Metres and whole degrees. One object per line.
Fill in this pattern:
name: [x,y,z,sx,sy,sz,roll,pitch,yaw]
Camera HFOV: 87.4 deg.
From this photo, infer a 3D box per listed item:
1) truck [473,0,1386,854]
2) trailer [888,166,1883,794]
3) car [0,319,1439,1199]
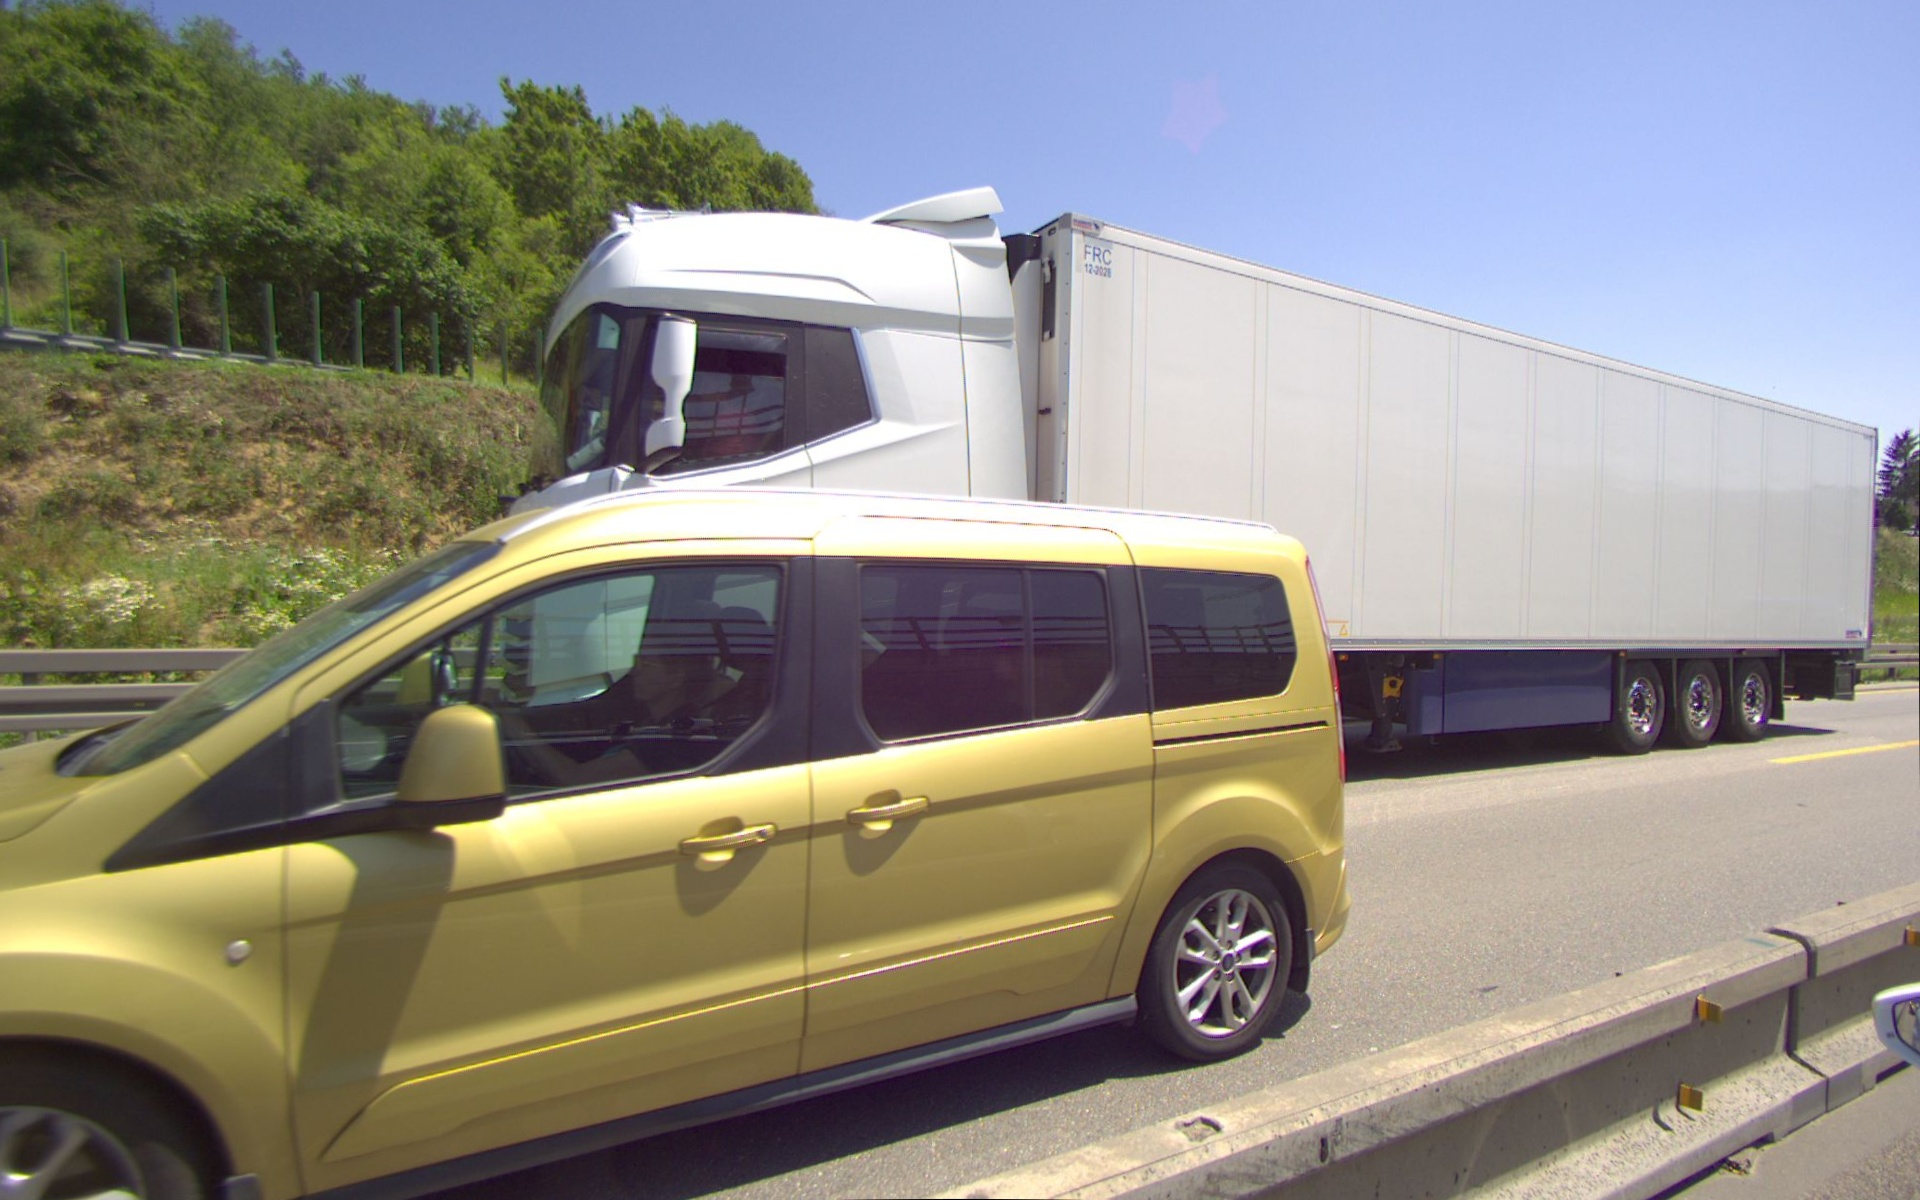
truck: [-0.095,-0.835,7.951,6.412,4.294,3.163,2,0,-32]
trailer: [5.850,-0.698,11.511,13.251,4.214,3.205,1,0,-31]
car: [-0.597,0.471,3.314,4.382,1.845,1.767,1,1,-31]
